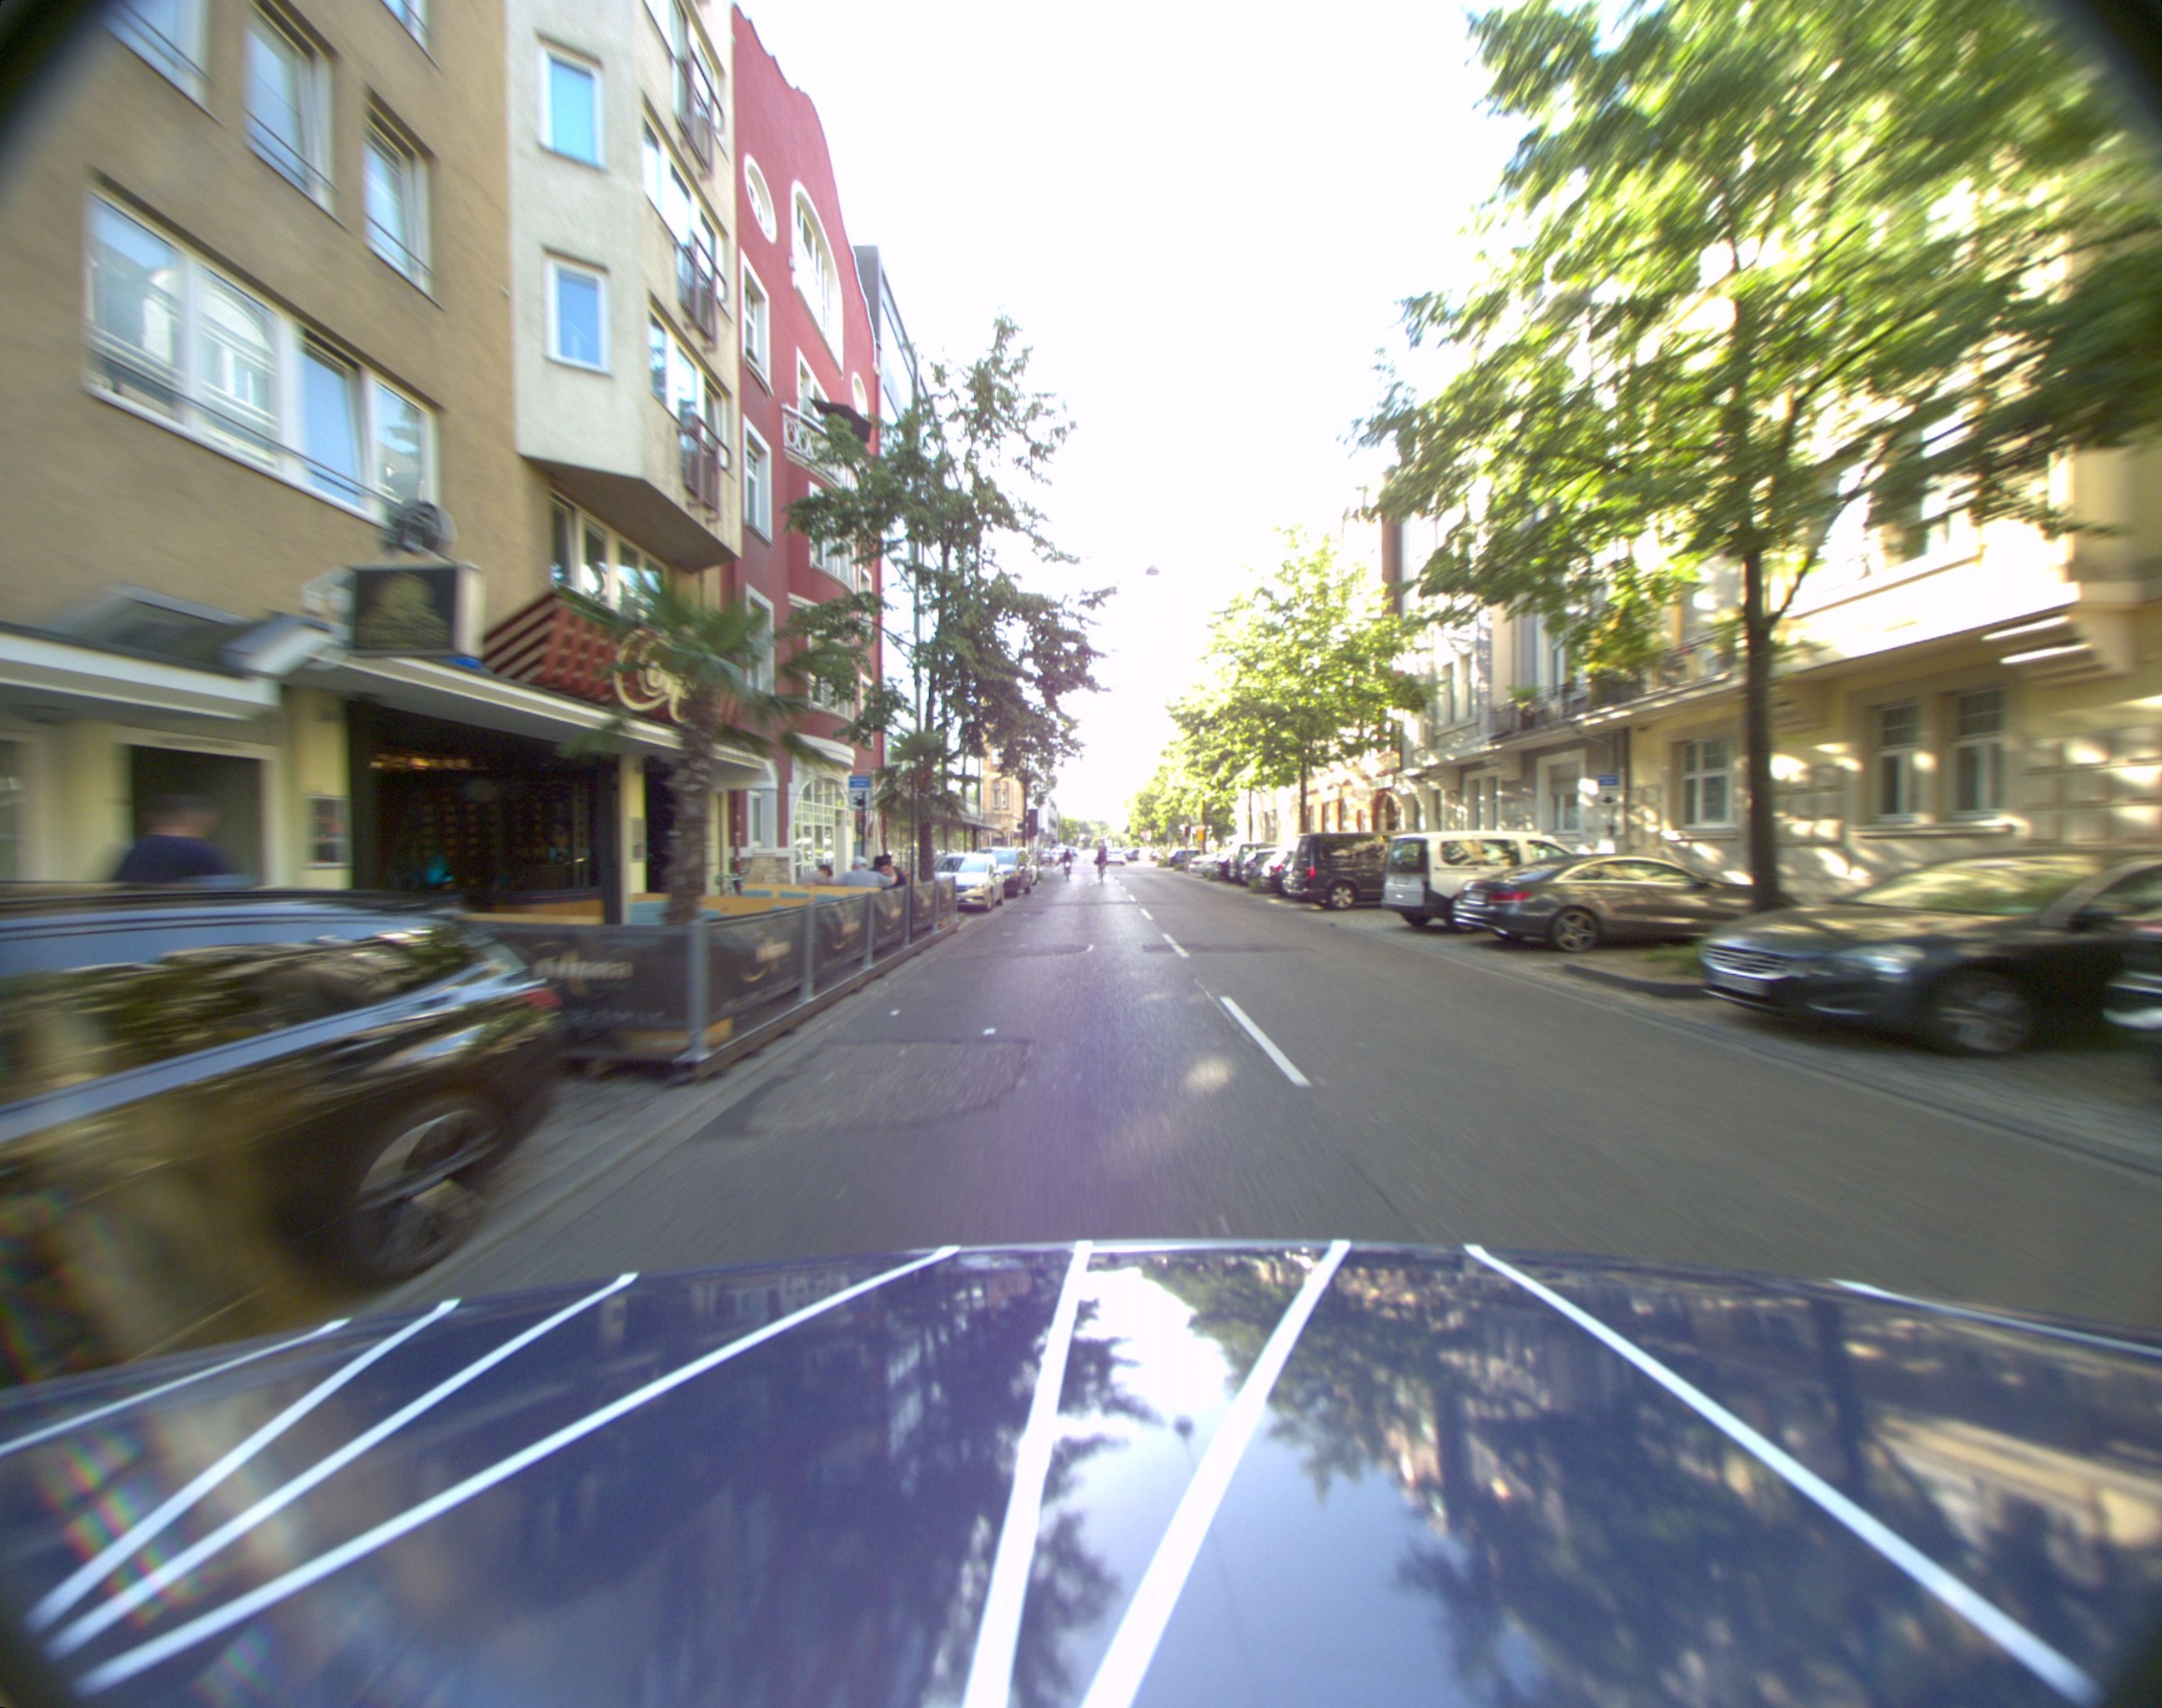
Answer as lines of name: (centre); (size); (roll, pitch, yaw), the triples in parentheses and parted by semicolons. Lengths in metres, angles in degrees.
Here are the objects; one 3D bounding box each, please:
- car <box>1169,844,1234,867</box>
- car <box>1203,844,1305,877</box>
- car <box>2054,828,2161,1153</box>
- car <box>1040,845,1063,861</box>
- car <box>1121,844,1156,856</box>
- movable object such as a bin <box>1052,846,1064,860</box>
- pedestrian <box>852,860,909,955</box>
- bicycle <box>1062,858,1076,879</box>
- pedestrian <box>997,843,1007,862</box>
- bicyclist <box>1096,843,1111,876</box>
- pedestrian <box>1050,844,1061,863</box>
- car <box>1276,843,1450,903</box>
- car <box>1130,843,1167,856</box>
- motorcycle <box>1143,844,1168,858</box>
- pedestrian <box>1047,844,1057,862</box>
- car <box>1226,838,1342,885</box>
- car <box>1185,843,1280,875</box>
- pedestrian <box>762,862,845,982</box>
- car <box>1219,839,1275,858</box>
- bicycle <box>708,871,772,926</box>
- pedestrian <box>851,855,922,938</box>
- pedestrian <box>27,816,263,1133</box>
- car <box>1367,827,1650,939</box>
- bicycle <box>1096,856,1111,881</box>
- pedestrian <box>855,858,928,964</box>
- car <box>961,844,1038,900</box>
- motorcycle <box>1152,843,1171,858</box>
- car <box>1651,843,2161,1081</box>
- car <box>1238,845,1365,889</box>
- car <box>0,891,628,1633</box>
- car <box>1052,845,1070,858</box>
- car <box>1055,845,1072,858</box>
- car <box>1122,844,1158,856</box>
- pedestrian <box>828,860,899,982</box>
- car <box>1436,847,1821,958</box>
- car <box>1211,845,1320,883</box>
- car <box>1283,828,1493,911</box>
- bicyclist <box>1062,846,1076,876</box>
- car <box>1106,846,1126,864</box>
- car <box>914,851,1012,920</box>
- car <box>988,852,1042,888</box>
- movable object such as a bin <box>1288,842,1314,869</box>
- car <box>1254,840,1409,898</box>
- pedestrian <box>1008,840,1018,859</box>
car: (8.569, 0.075, 54.317); (4.349, 1.536, 1.944); (-1, 1, 3)
car: (8.917, 0.308, 39.413); (4.713, 1.483, 1.999); (-2, 0, -4)
car: (7.863, 0.674, 3.628); (4.352, 1.699, 1.915); (-1, 1, -5)
car: (-2.898, -0.128, 75.743); (1.978, 1.565, 4.126); (1, 1, 1)
car: (7.496, -0.553, 98.495); (4.005, 1.465, 1.996); (-2, 1, -25)
movable object such as a bin: (-2.553, -0.118, 86.122); (1.147, 1.414, 1.411); (2, 1, 5)
pedestrian: (-3.323, 0.866, 12.647); (0.694, 1.528, 0.776); (0, 1, 2)
bicycle: (-0.631, 0.744, 40.768); (0.666, 1.061, 1.836); (-1, 1, 1)
pedestrian: (-7.277, -0.135, 70.009); (0.618, 1.683, 0.717); (0, 2, 28)
bicyclist: (1.090, 0.265, 36.681); (0.718, 1.553, 0.864); (-1, 1, 2)
pedestrian: (-2.390, -0.045, 71.528); (0.693, 1.710, 0.896); (2, 1, 25)
car: (8.114, 0.519, 22.138); (4.351, 1.586, 1.916); (-1, 1, -1)
car: (8.293, -0.561, 93.119); (4.006, 1.553, 1.995); (-2, 1, -30)
motorcycle: (7.643, -0.320, 77.676); (2.316, 1.415, 1.002); (-1, 1, 28)
pedestrian: (-2.770, -0.069, 72.093); (0.699, 1.710, 0.693); (1, 1, -22)
car: (8.504, 0.300, 32.045); (4.351, 1.814, 1.929); (-1, 1, -2)
car: (8.254, 0.240, 41.549); (4.713, 1.484, 1.999); (-2, 2, -4)
pedestrian: (-3.736, 0.883, 10.265); (0.712, 1.528, 0.770); (0, 1, 15)
car: (16.835, -0.550, 77.036); (5.335, 1.933, 2.070); (0, 1, -25)
bicycle: (-6.815, 0.863, 15.266); (0.475, 0.996, 1.700); (0, 1, 1)
pedestrian: (-3.698, 0.786, 14.496); (1.058, 1.528, 0.892); (0, 1, 5)
pedestrian: (-5.276, 0.636, 4.325); (0.630, 1.686, 0.503); (-1, 1, -11)
car: (7.887, 0.475, 14.220); (4.353, 1.823, 1.915); (-1, 1, -9)
bicycle: (1.105, 0.687, 36.974); (0.718, 1.106, 2.269); (-1, 1, 2)
pedestrian: (-2.860, 0.835, 11.520); (0.750, 1.528, 0.808); (0, 1, 15)
car: (-2.799, 0.569, 27.256); (1.826, 1.767, 4.931); (2, 1, 5)
motorcycle: (8.316, -0.359, 78.477); (1.750, 1.415, 0.831); (-1, 1, 27)
car: (7.529, 0.732, 6.049); (4.476, 1.532, 1.917); (-1, 1, 3)
car: (8.423, 0.476, 29.352); (4.350, 1.536, 1.916); (-1, 1, 0)
car: (-3.305, 0.980, 1.479); (1.826, 1.463, 4.911); (2, 1, 1)
car: (-2.452, -0.303, 92.748); (1.998, 1.565, 3.999); (1, 1, 1)
car: (-2.240, -0.342, 96.881); (1.998, 1.483, 3.999); (1, 1, 1)
car: (7.418, -0.521, 95.348); (4.006, 1.434, 1.995); (-2, 1, -30)
pedestrian: (-2.887, 0.858, 10.157); (0.652, 1.528, 0.980); (0, 1, -1)
car: (7.965, 0.666, 11.417); (4.349, 1.431, 1.916); (-1, 1, 3)
car: (8.353, 0.426, 34.530); (4.354, 1.536, 1.962); (-1, 1, -11)
car: (7.678, 0.364, 19.390); (4.584, 1.916, 1.930); (-1, 1, 3)
bicyclist: (-0.642, 0.352, 40.709); (0.658, 1.562, 0.909); (-1, 1, 1)
car: (3.309, 0.060, 72.242); (1.915, 1.536, 4.353); (0, 1, 2)
car: (-3.097, 0.753, 20.900); (1.826, 1.587, 4.841); (2, 1, 1)
car: (-2.834, 0.640, 33.690); (1.826, 1.394, 4.841); (2, 1, 1)
movable object such as a bin: (12.381, 0.067, 42.849); (1.136, 1.436, 1.381); (-1, 1, 4)
car: (7.996, 0.455, 24.562); (4.351, 1.723, 1.916); (-1, 1, -1)
pedestrian: (-6.201, -0.401, 69.224); (0.617, 1.682, 0.676); (3, 4, 45)
